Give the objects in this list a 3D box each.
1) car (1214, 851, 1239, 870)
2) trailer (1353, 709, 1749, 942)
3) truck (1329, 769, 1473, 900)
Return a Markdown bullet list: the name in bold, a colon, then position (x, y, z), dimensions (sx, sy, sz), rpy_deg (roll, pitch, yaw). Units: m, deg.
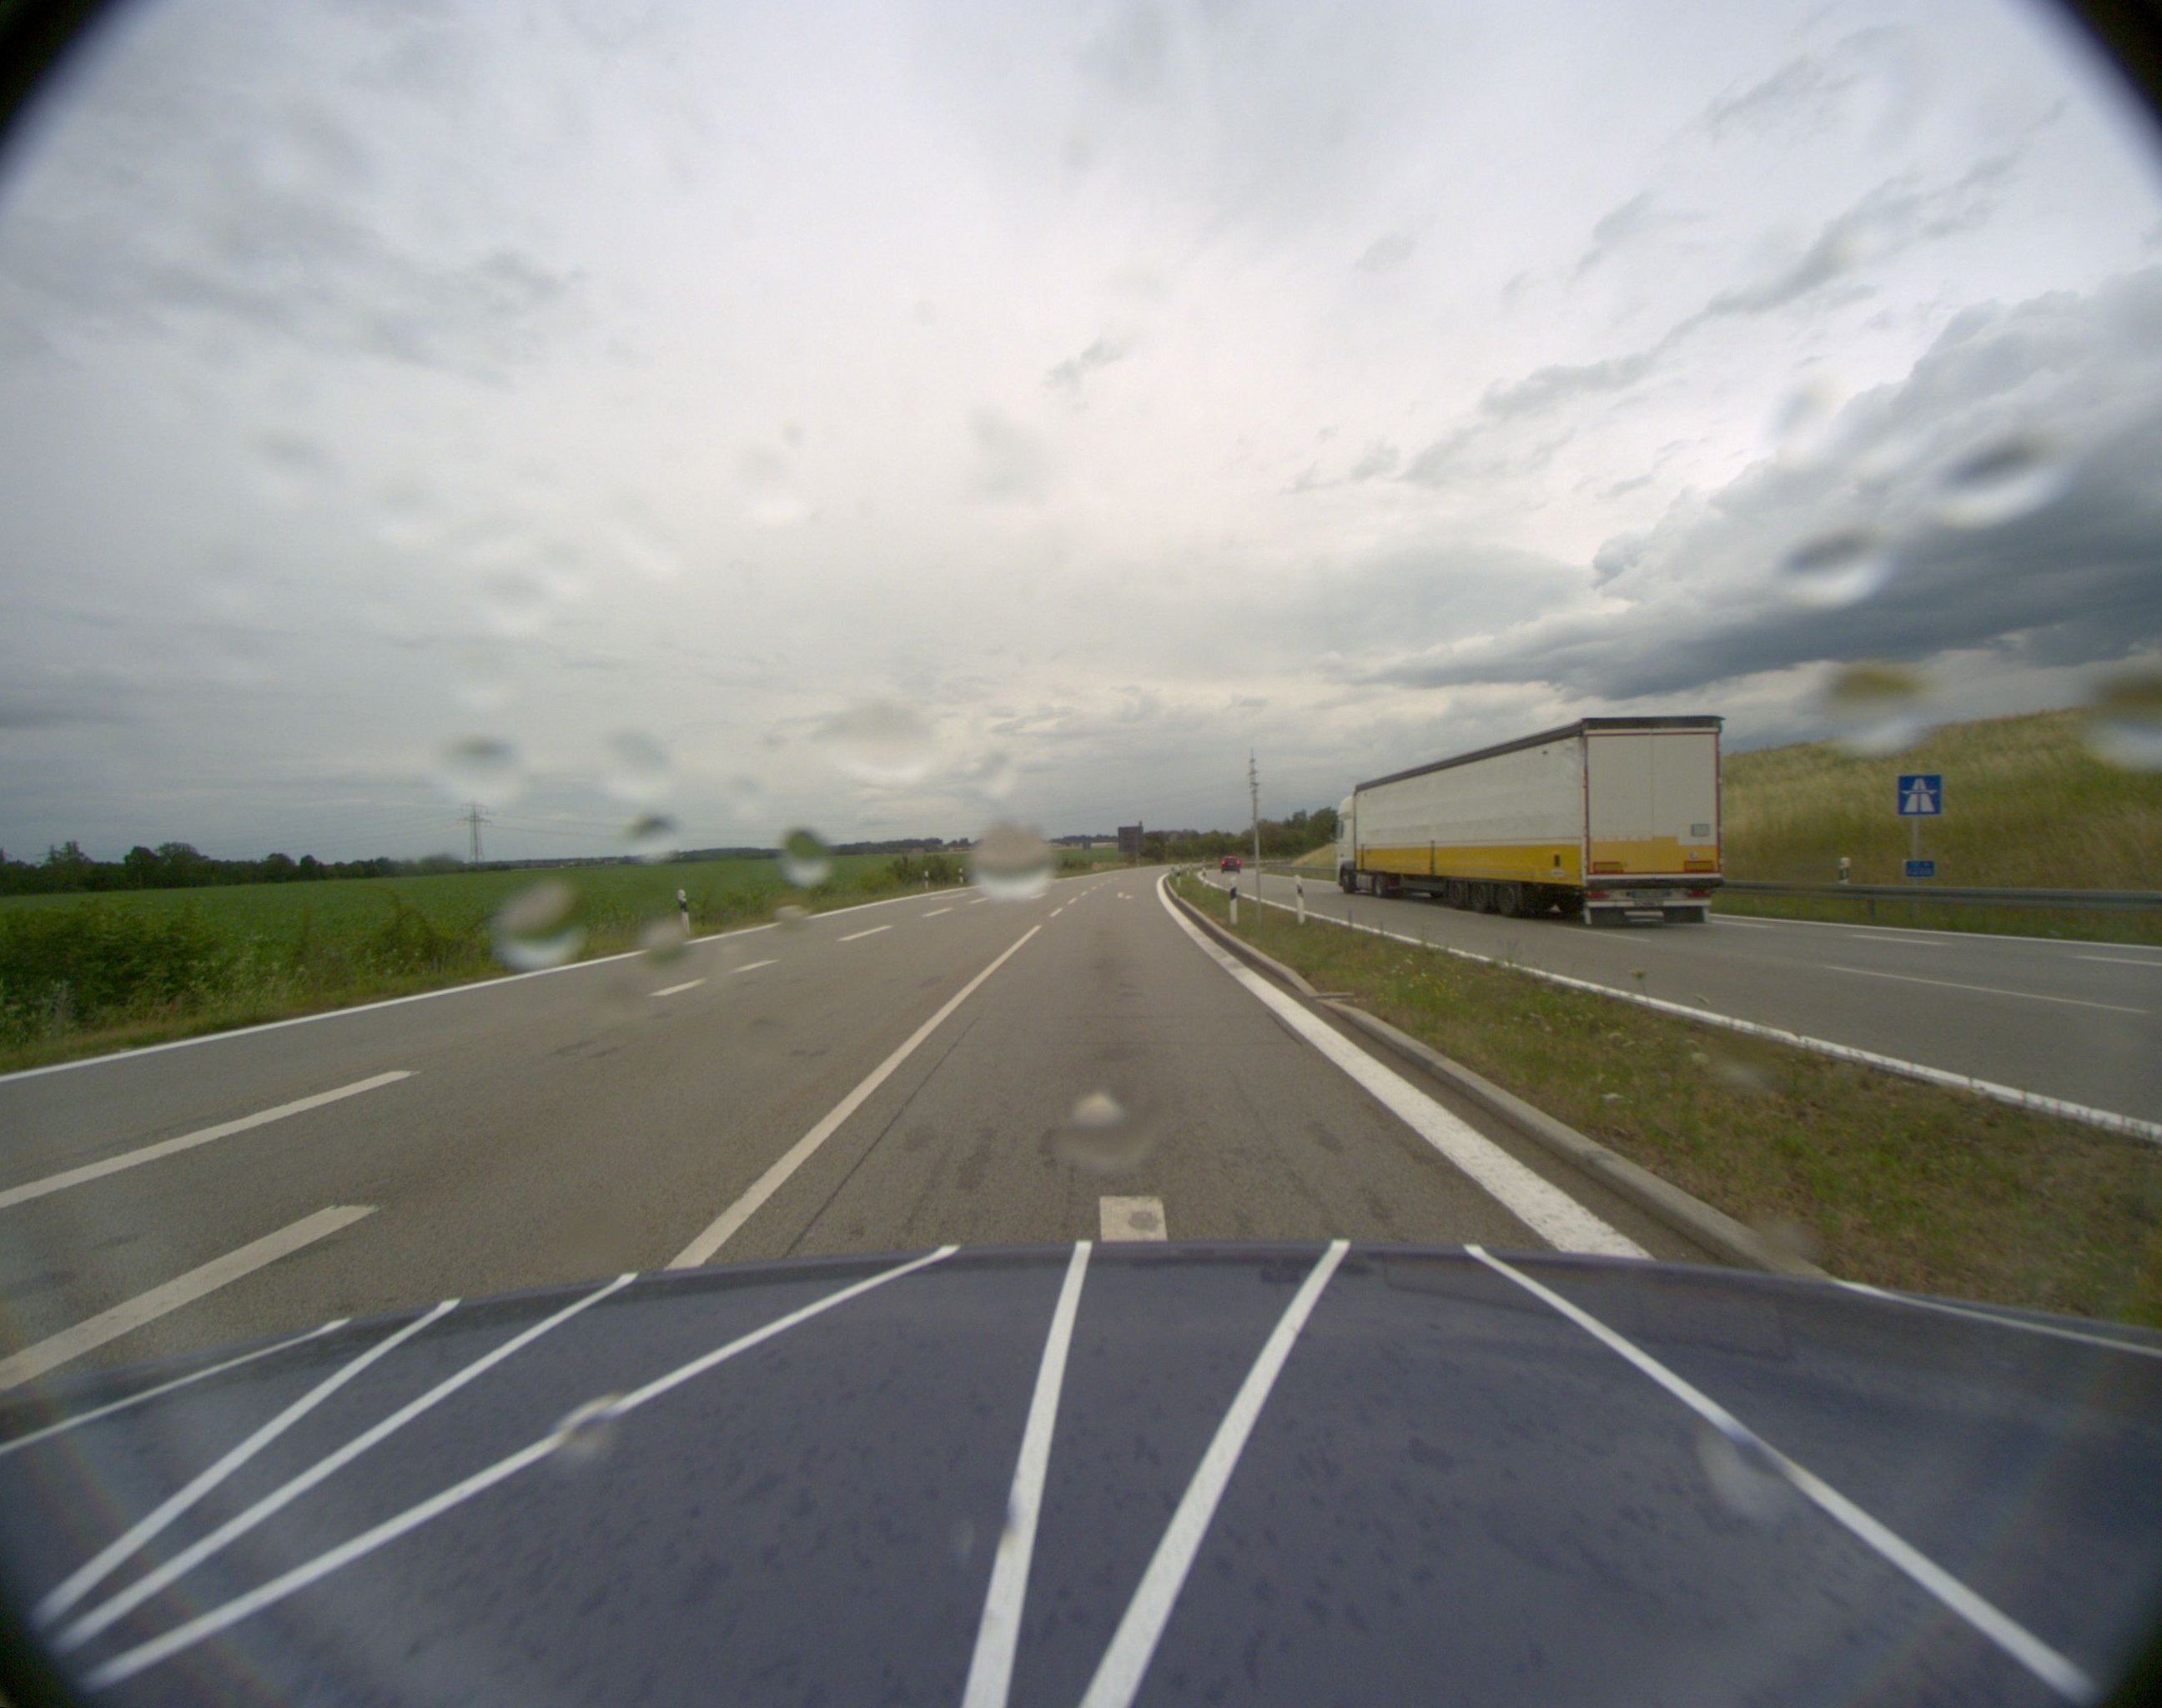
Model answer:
- **car**: position (14.090, 0.606, 73.738), dimensions (1.997, 1.674, 4.115), rpy_deg (-2, 1, 6)
- **trailer**: position (11.117, -0.601, 20.884), dimensions (2.698, 4.186, 13.841), rpy_deg (-2, 1, 2)
- **truck**: position (11.377, -0.672, 27.748), dimensions (2.656, 4.117, 6.403), rpy_deg (-2, 1, 2)
